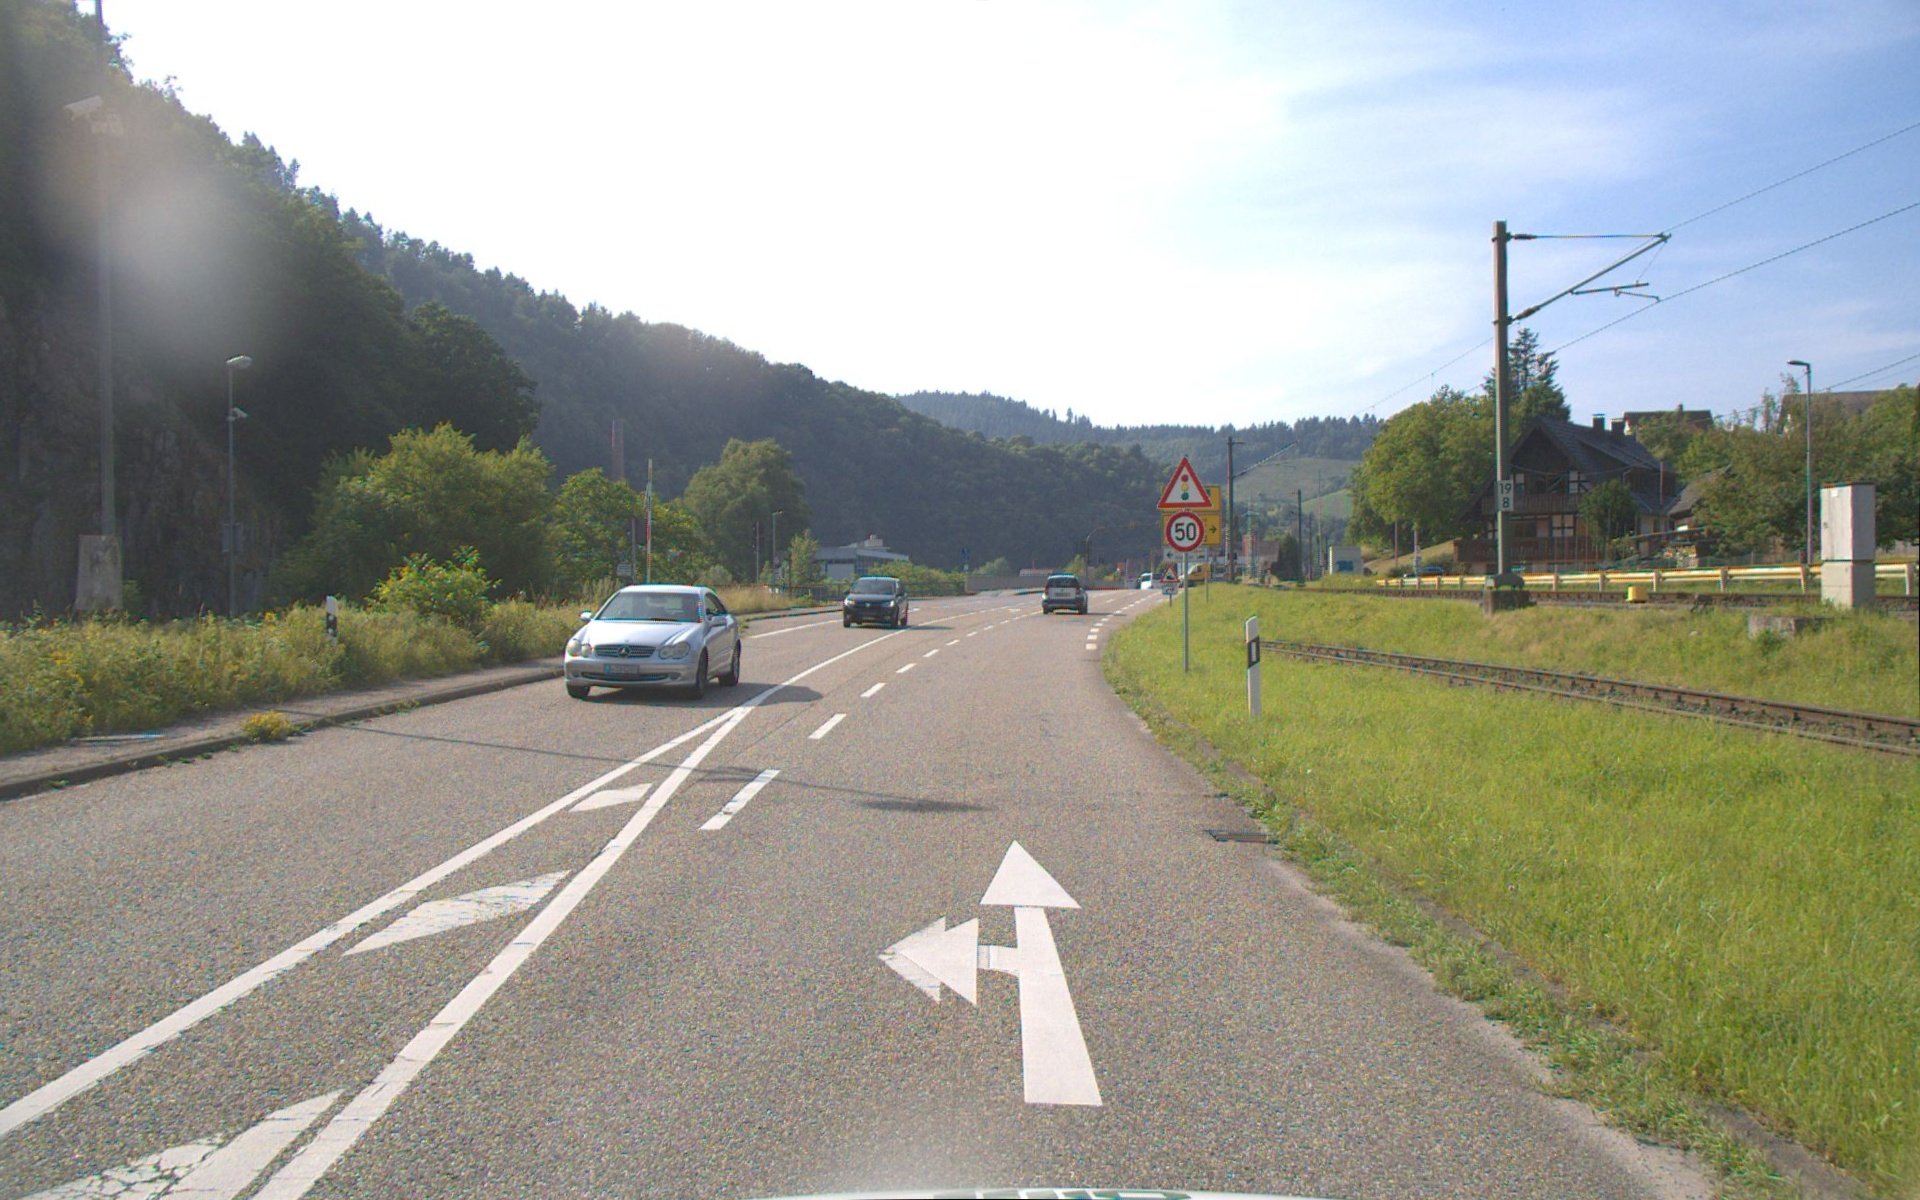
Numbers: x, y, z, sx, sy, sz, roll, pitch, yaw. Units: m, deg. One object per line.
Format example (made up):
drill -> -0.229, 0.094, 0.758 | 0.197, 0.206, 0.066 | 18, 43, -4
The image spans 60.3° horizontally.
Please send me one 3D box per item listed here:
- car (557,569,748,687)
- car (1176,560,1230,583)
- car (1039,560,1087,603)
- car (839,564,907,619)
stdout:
car -> -3.968, 0.310, 22.044 | 1.742, 1.371, 4.510 | 2, 1, -1
car -> 25.229, -2.949, 171.818 | 5.182, 2.048, 1.996 | -3, 0, -9
car -> 4.473, -0.799, 71.843 | 1.952, 1.753, 3.992 | -3, 0, 3
car -> -2.689, -0.295, 52.147 | 1.809, 1.612, 4.317 | 1, 1, 1
